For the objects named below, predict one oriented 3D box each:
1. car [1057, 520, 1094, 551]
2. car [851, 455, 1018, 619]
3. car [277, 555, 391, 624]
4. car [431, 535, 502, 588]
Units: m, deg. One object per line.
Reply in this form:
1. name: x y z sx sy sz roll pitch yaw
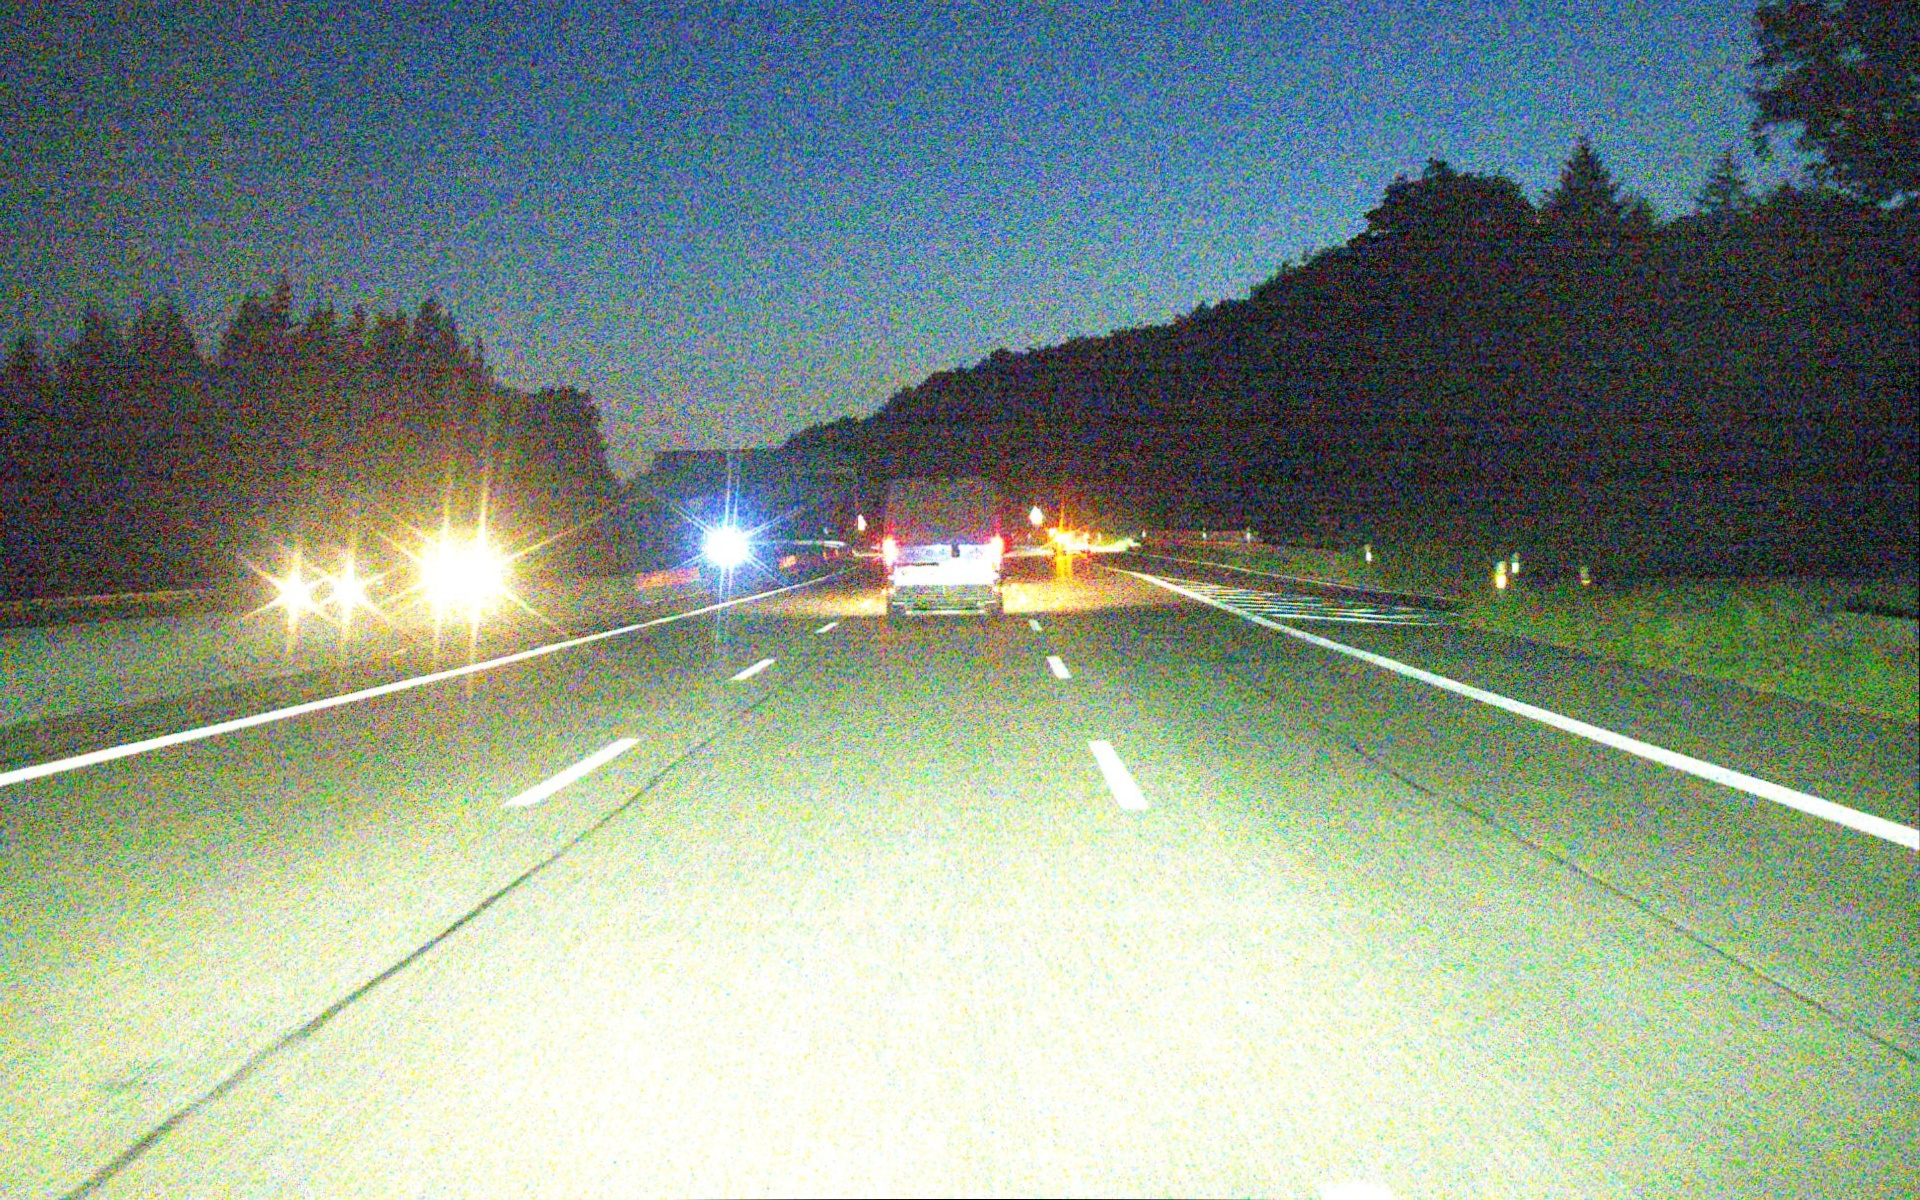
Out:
1. car: 6.295 -3.546 188.134 1.843 1.634 4.000 -1 2 0
2. car: -0.428 -1.097 60.676 2.786 2.724 6.299 0 1 0
3. car: -15.598 -0.283 85.889 1.932 1.599 4.954 -1 1 0
4. car: -19.383 -1.529 135.150 2.028 1.962 5.397 -1 1 0
